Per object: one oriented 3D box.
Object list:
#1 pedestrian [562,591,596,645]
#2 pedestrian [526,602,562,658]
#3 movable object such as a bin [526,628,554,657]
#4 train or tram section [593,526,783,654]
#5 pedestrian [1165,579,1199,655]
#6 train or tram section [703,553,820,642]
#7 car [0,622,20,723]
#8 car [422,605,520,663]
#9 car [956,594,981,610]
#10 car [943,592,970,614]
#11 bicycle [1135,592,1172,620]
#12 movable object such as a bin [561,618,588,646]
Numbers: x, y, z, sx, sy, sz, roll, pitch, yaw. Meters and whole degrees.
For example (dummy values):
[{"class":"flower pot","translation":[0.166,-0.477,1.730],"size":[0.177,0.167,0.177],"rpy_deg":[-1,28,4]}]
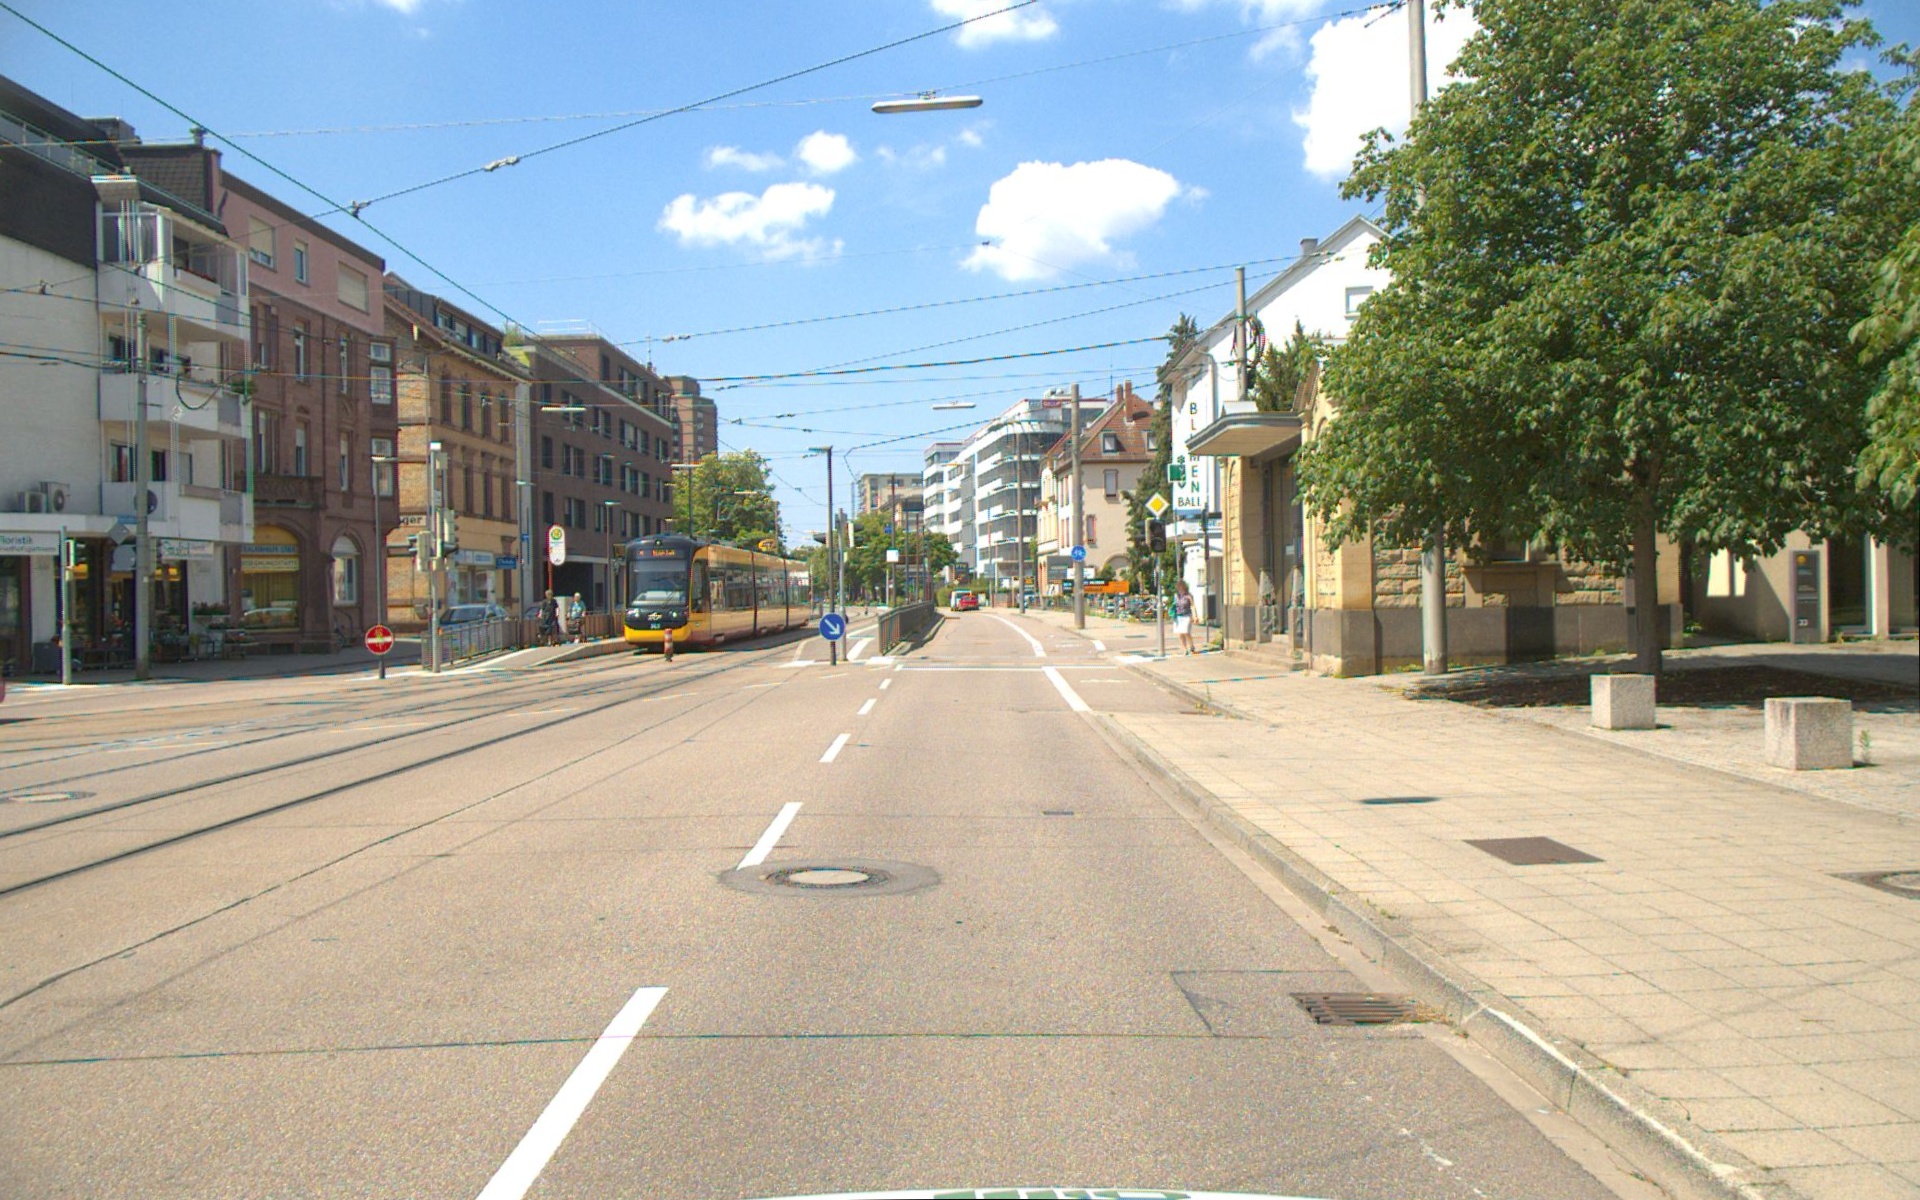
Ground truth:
[{"class":"pedestrian","translation":[-11.636,0.541,50.523],"size":[0.769,1.587,0.920],"rpy_deg":[-2,0,0]},{"class":"pedestrian","translation":[-12.085,0.862,48.029],"size":[0.769,1.587,0.920],"rpy_deg":[-2,0,0]},{"class":"movable object such as a bin","translation":[-12.061,1.225,47.487],"size":[0.661,0.794,0.538],"rpy_deg":[-2,0,-2]},{"class":"train or tram section","translation":[-9.053,-0.251,58.653],"size":[3.184,3.629,20.500],"rpy_deg":[-2,0,0]},{"class":"pedestrian","translation":[5.050,0.390,37.591],"size":[0.552,1.695,0.681],"rpy_deg":[-2,0,23]},{"class":"train or tram section","translation":[-8.950,-0.069,76.905],"size":[3.168,3.629,16.350],"rpy_deg":[-2,0,1]},{"class":"car","translation":[-15.017,1.100,22.287],"size":[1.953,1.475,4.820],"rpy_deg":[-2,0,-1]},{"class":"car","translation":[-15.081,1.004,51.219],"size":[1.700,1.643,4.604],"rpy_deg":[-2,0,-1]},{"class":"car","translation":[0.836,0.151,159.858],"size":[1.955,1.467,4.012],"rpy_deg":[-2,0,-6]},{"class":"car","translation":[-0.335,0.316,166.518],"size":[1.956,2.026,5.505],"rpy_deg":[-3,0,-7]},{"class":"bicycle","translation":[8.094,0.241,69.217],"size":[1.500,1.105,0.430],"rpy_deg":[-3,0,6]},{"class":"movable object such as a bin","translation":[-11.642,0.962,49.932],"size":[0.661,0.794,0.619],"rpy_deg":[-2,0,-2]}]
